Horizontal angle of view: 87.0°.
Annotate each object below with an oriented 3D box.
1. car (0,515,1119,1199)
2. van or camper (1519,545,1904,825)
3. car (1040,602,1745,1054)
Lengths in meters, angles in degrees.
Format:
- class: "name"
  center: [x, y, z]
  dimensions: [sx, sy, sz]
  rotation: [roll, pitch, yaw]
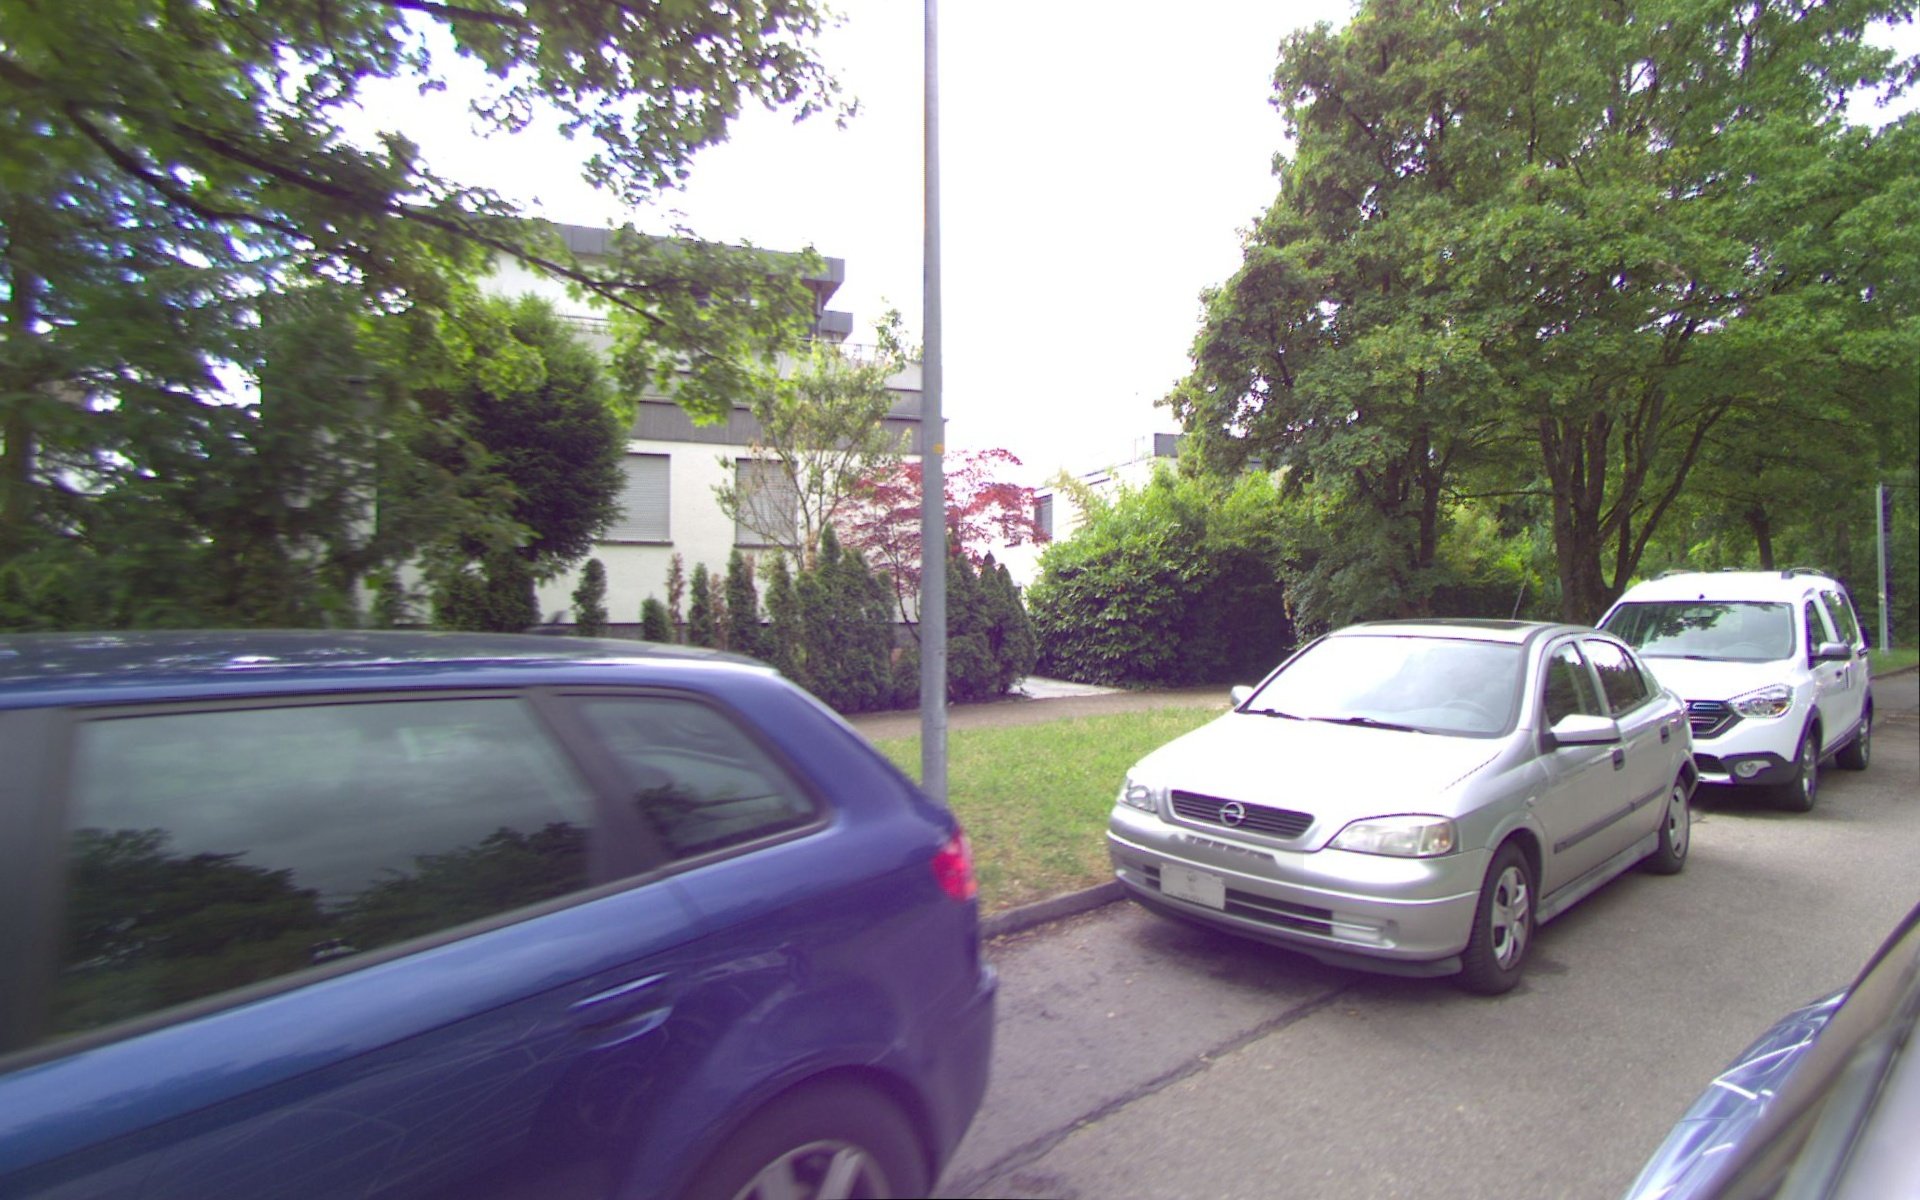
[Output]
- class: "car"
  center: [-1.823, 0.671, 1.441]
  dimensions: [1.847, 1.493, 4.407]
  rotation: [-1, -1, 44]
- class: "van or camper"
  center: [6.684, 0.516, 8.824]
  dimensions: [4.246, 1.861, 1.805]
  rotation: [-2, 1, -41]
- class: "car"
  center: [2.529, 0.762, 5.367]
  dimensions: [4.169, 1.456, 1.815]
  rotation: [0, -2, -42]
